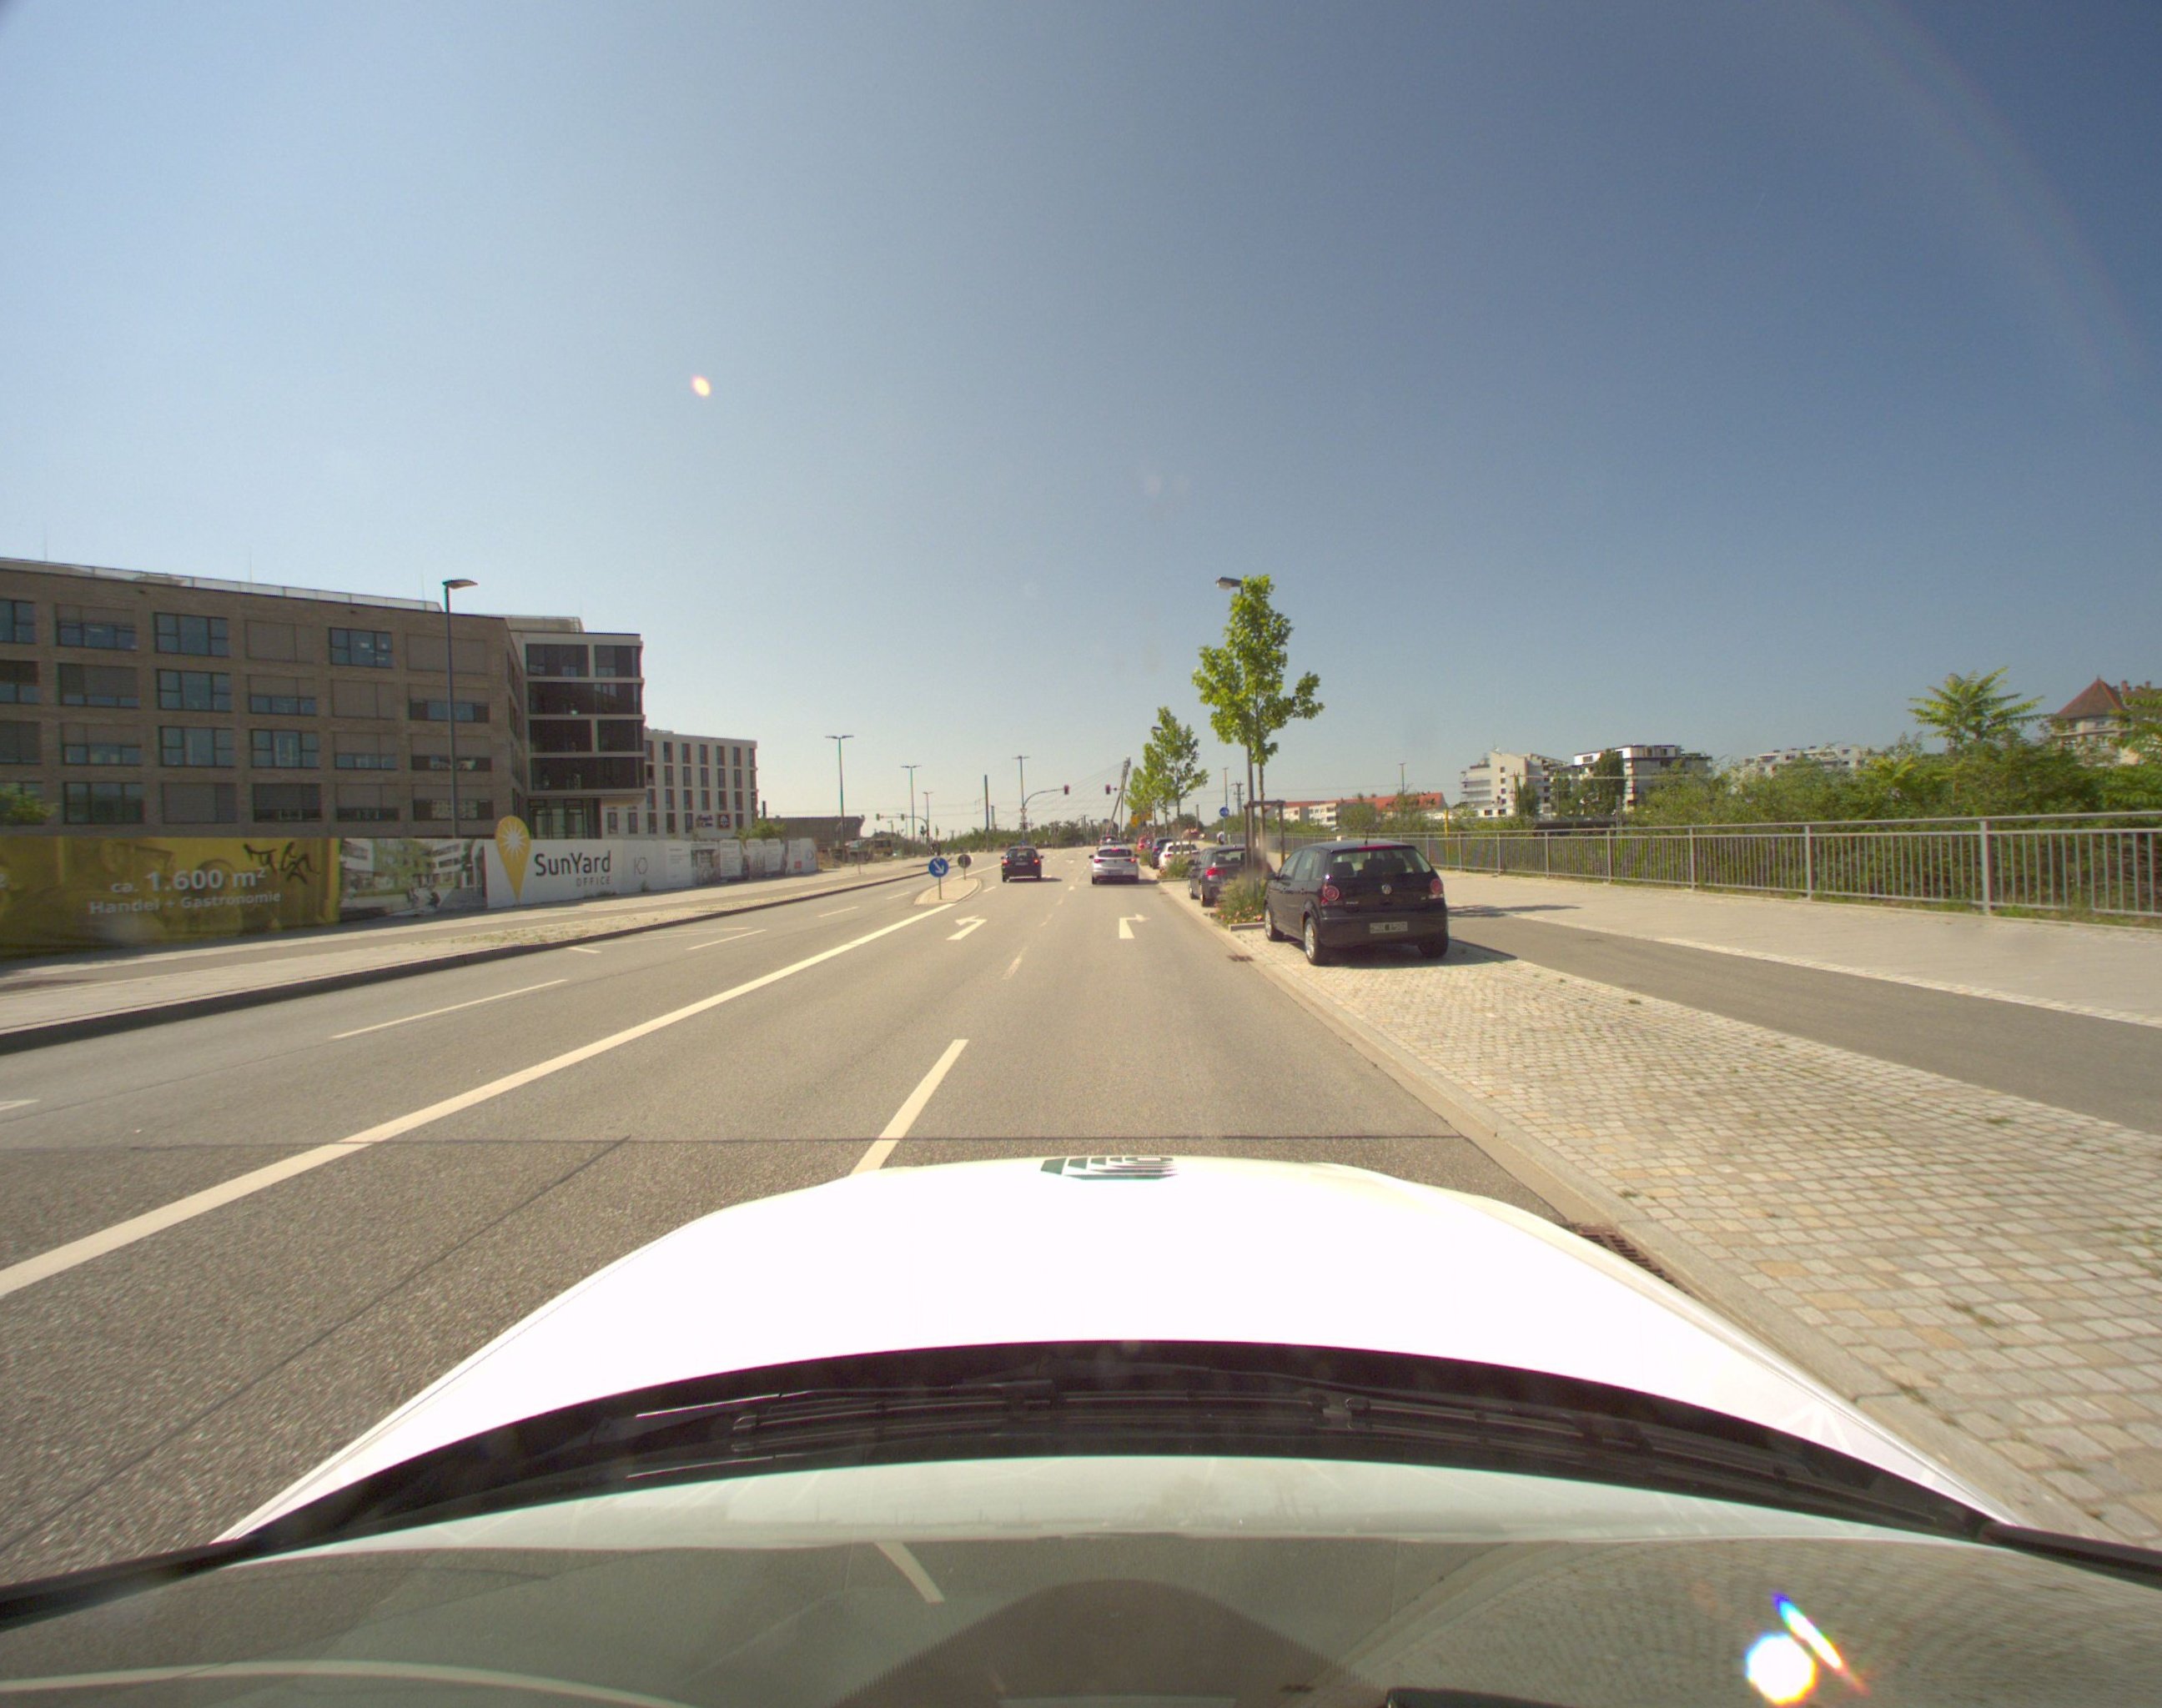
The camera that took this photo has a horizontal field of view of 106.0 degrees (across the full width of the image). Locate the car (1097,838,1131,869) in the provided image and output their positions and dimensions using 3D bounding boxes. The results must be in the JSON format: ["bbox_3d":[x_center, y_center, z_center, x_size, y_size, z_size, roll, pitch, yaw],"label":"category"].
[{"bbox_3d":[1.831,-0.056,45.163,1.771,1.568,4.003,-2,1,2],"label":"car"}]

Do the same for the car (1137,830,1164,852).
[{"bbox_3d":[5.200,-0.943,61.086,1.771,1.503,4.002,-3,1,2],"label":"car"}]

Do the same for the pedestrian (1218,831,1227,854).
[{"bbox_3d":[9.994,-0.808,57.443,0.531,1.575,0.524,-1,-1,2],"label":"pedestrian"}]

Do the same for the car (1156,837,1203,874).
[{"bbox_3d":[4.328,0.042,36.321,1.690,1.475,4.208,-3,1,3],"label":"car"}]

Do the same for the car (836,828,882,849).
[{"bbox_3d":[-22.056,-1.578,81.054,1.974,2.013,4.025,-1,1,40],"label":"car"}]

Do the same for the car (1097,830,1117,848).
[{"bbox_3d":[2.406,-1.376,74.831,1.771,1.568,4.003,-2,1,2],"label":"car"}]

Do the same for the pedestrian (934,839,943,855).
[{"bbox_3d":[-15.611,-0.769,89.368,0.842,1.646,0.827,-1,1,-3],"label":"pedestrian"}]

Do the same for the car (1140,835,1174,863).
[{"bbox_3d":[4.860,-0.344,52.446,1.771,1.503,4.002,-6,1,2],"label":"car"}]

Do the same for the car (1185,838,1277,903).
[{"bbox_3d":[3.683,0.380,20.723,1.697,1.401,4.273,-4,0,3],"label":"car"}]

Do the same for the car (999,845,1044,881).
[{"bbox_3d":[-2.461,0.338,34.516,1.614,1.416,3.726,-2,1,-1],"label":"car"}]

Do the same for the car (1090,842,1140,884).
[{"bbox_3d":[1.323,0.311,31.973,1.771,1.442,4.003,-2,2,2],"label":"car"}]

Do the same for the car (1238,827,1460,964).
[{"bbox_3d":[3.457,0.495,11.310,1.699,1.462,3.953,-3,-1,0],"label":"car"}]

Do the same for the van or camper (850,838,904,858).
[{"bbox_3d":[-19.626,-0.567,78.432,1.975,1.897,4.745,-1,-1,44],"label":"van or camper"}]

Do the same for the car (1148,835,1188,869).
[{"bbox_3d":[4.521,-0.161,42.830,1.815,1.616,3.614,-3,1,3],"label":"car"}]
